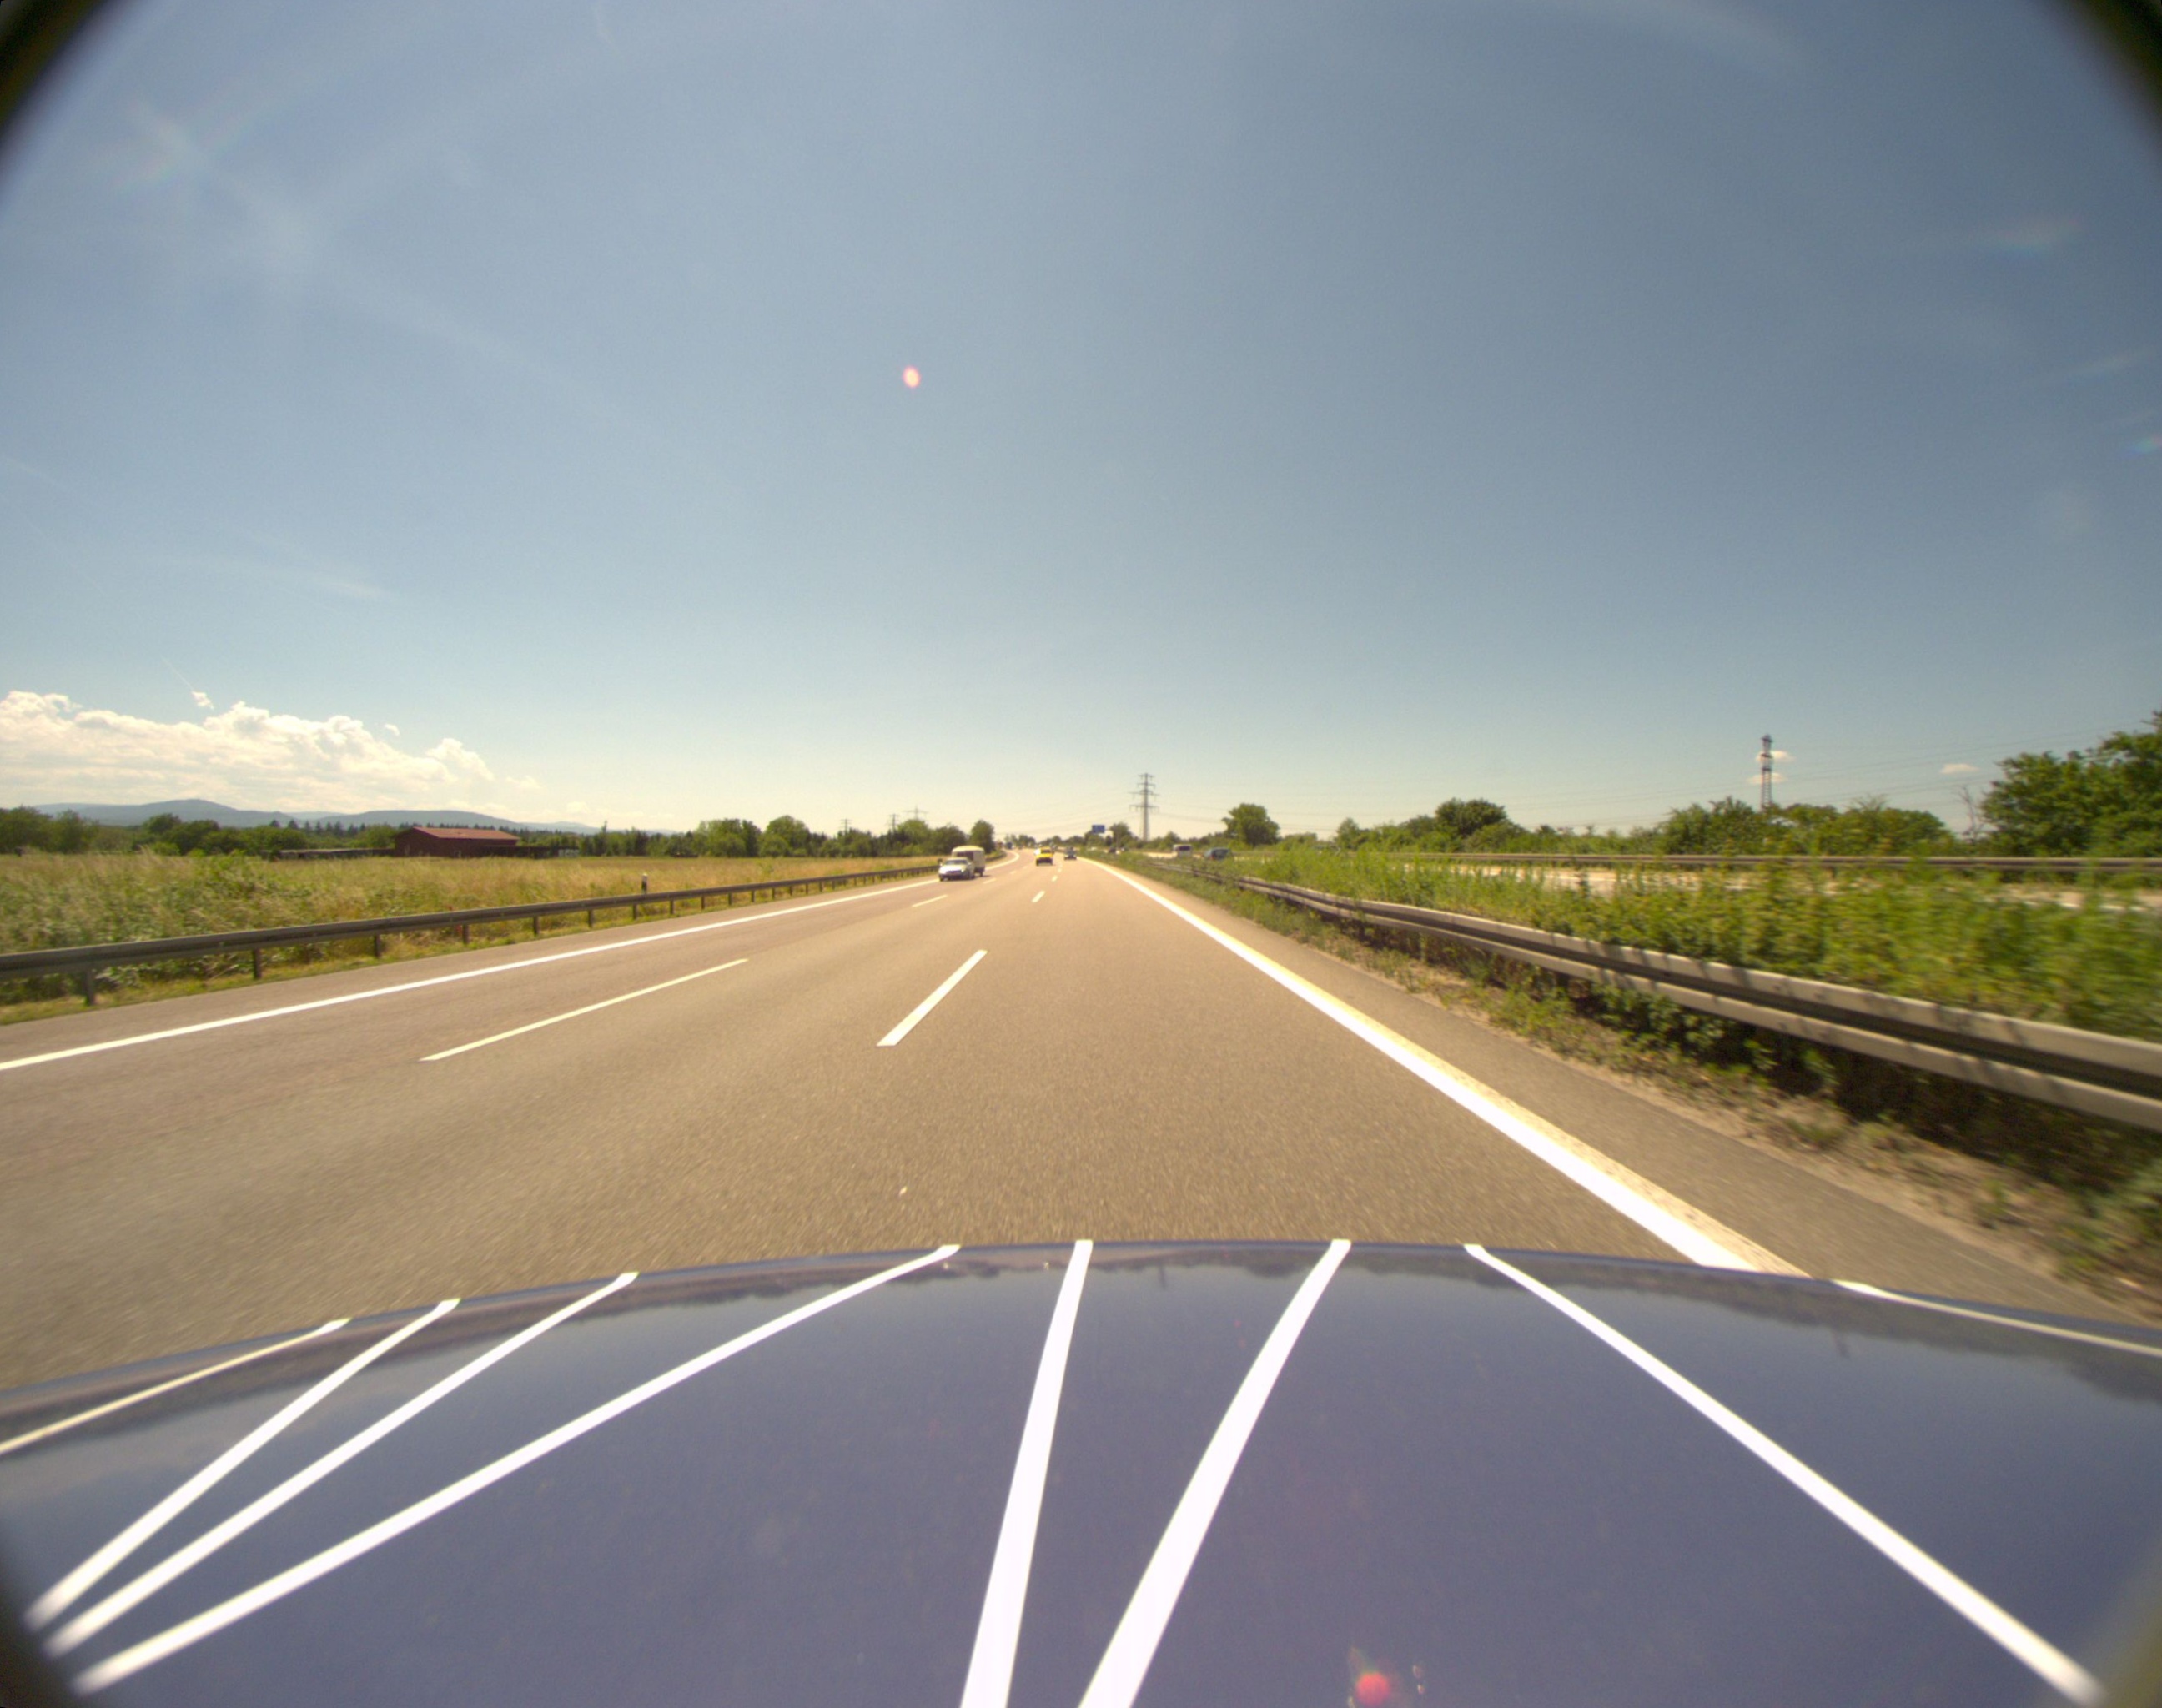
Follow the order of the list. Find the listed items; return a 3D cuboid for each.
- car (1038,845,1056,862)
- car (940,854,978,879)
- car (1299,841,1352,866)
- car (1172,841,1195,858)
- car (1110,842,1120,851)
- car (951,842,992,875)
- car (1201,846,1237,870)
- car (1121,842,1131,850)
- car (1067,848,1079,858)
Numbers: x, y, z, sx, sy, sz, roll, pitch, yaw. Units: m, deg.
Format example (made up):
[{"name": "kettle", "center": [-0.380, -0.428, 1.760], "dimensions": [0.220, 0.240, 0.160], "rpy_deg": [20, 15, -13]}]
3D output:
[{"name": "car", "center": [-3.830, -0.099, 86.464], "dimensions": [1.776, 1.882, 3.832], "rpy_deg": [-1, 1, 0]}, {"name": "car", "center": [-7.732, 0.773, 48.536], "dimensions": [1.784, 1.467, 3.999], "rpy_deg": [-1, 1, 0]}, {"name": "car", "center": [16.805, -0.059, 52.579], "dimensions": [1.680, 1.592, 5.634], "rpy_deg": [-3, 1, -1]}, {"name": "car", "center": [12.695, -0.525, 94.135], "dimensions": [1.909, 2.002, 4.823], "rpy_deg": [-2, 1, -2]}, {"name": "car", "center": [8.282, -1.788, 183.188], "dimensions": [1.909, 2.002, 4.823], "rpy_deg": [-2, 1, -2]}, {"name": "car", "center": [-7.850, 0.304, 54.985], "dimensions": [2.188, 2.253, 4.950], "rpy_deg": [-1, 1, 0]}, {"name": "car", "center": [9.466, 0.270, 52.476], "dimensions": [1.715, 1.565, 3.999], "rpy_deg": [-1, 1, -1]}, {"name": "car", "center": [11.148, -1.965, 188.272], "dimensions": [1.909, 2.002, 4.823], "rpy_deg": [-2, 1, -2]}, {"name": "car", "center": [-1.262, -0.100, 117.833], "dimensions": [1.726, 1.478, 3.999], "rpy_deg": [-1, 0, -2]}]
